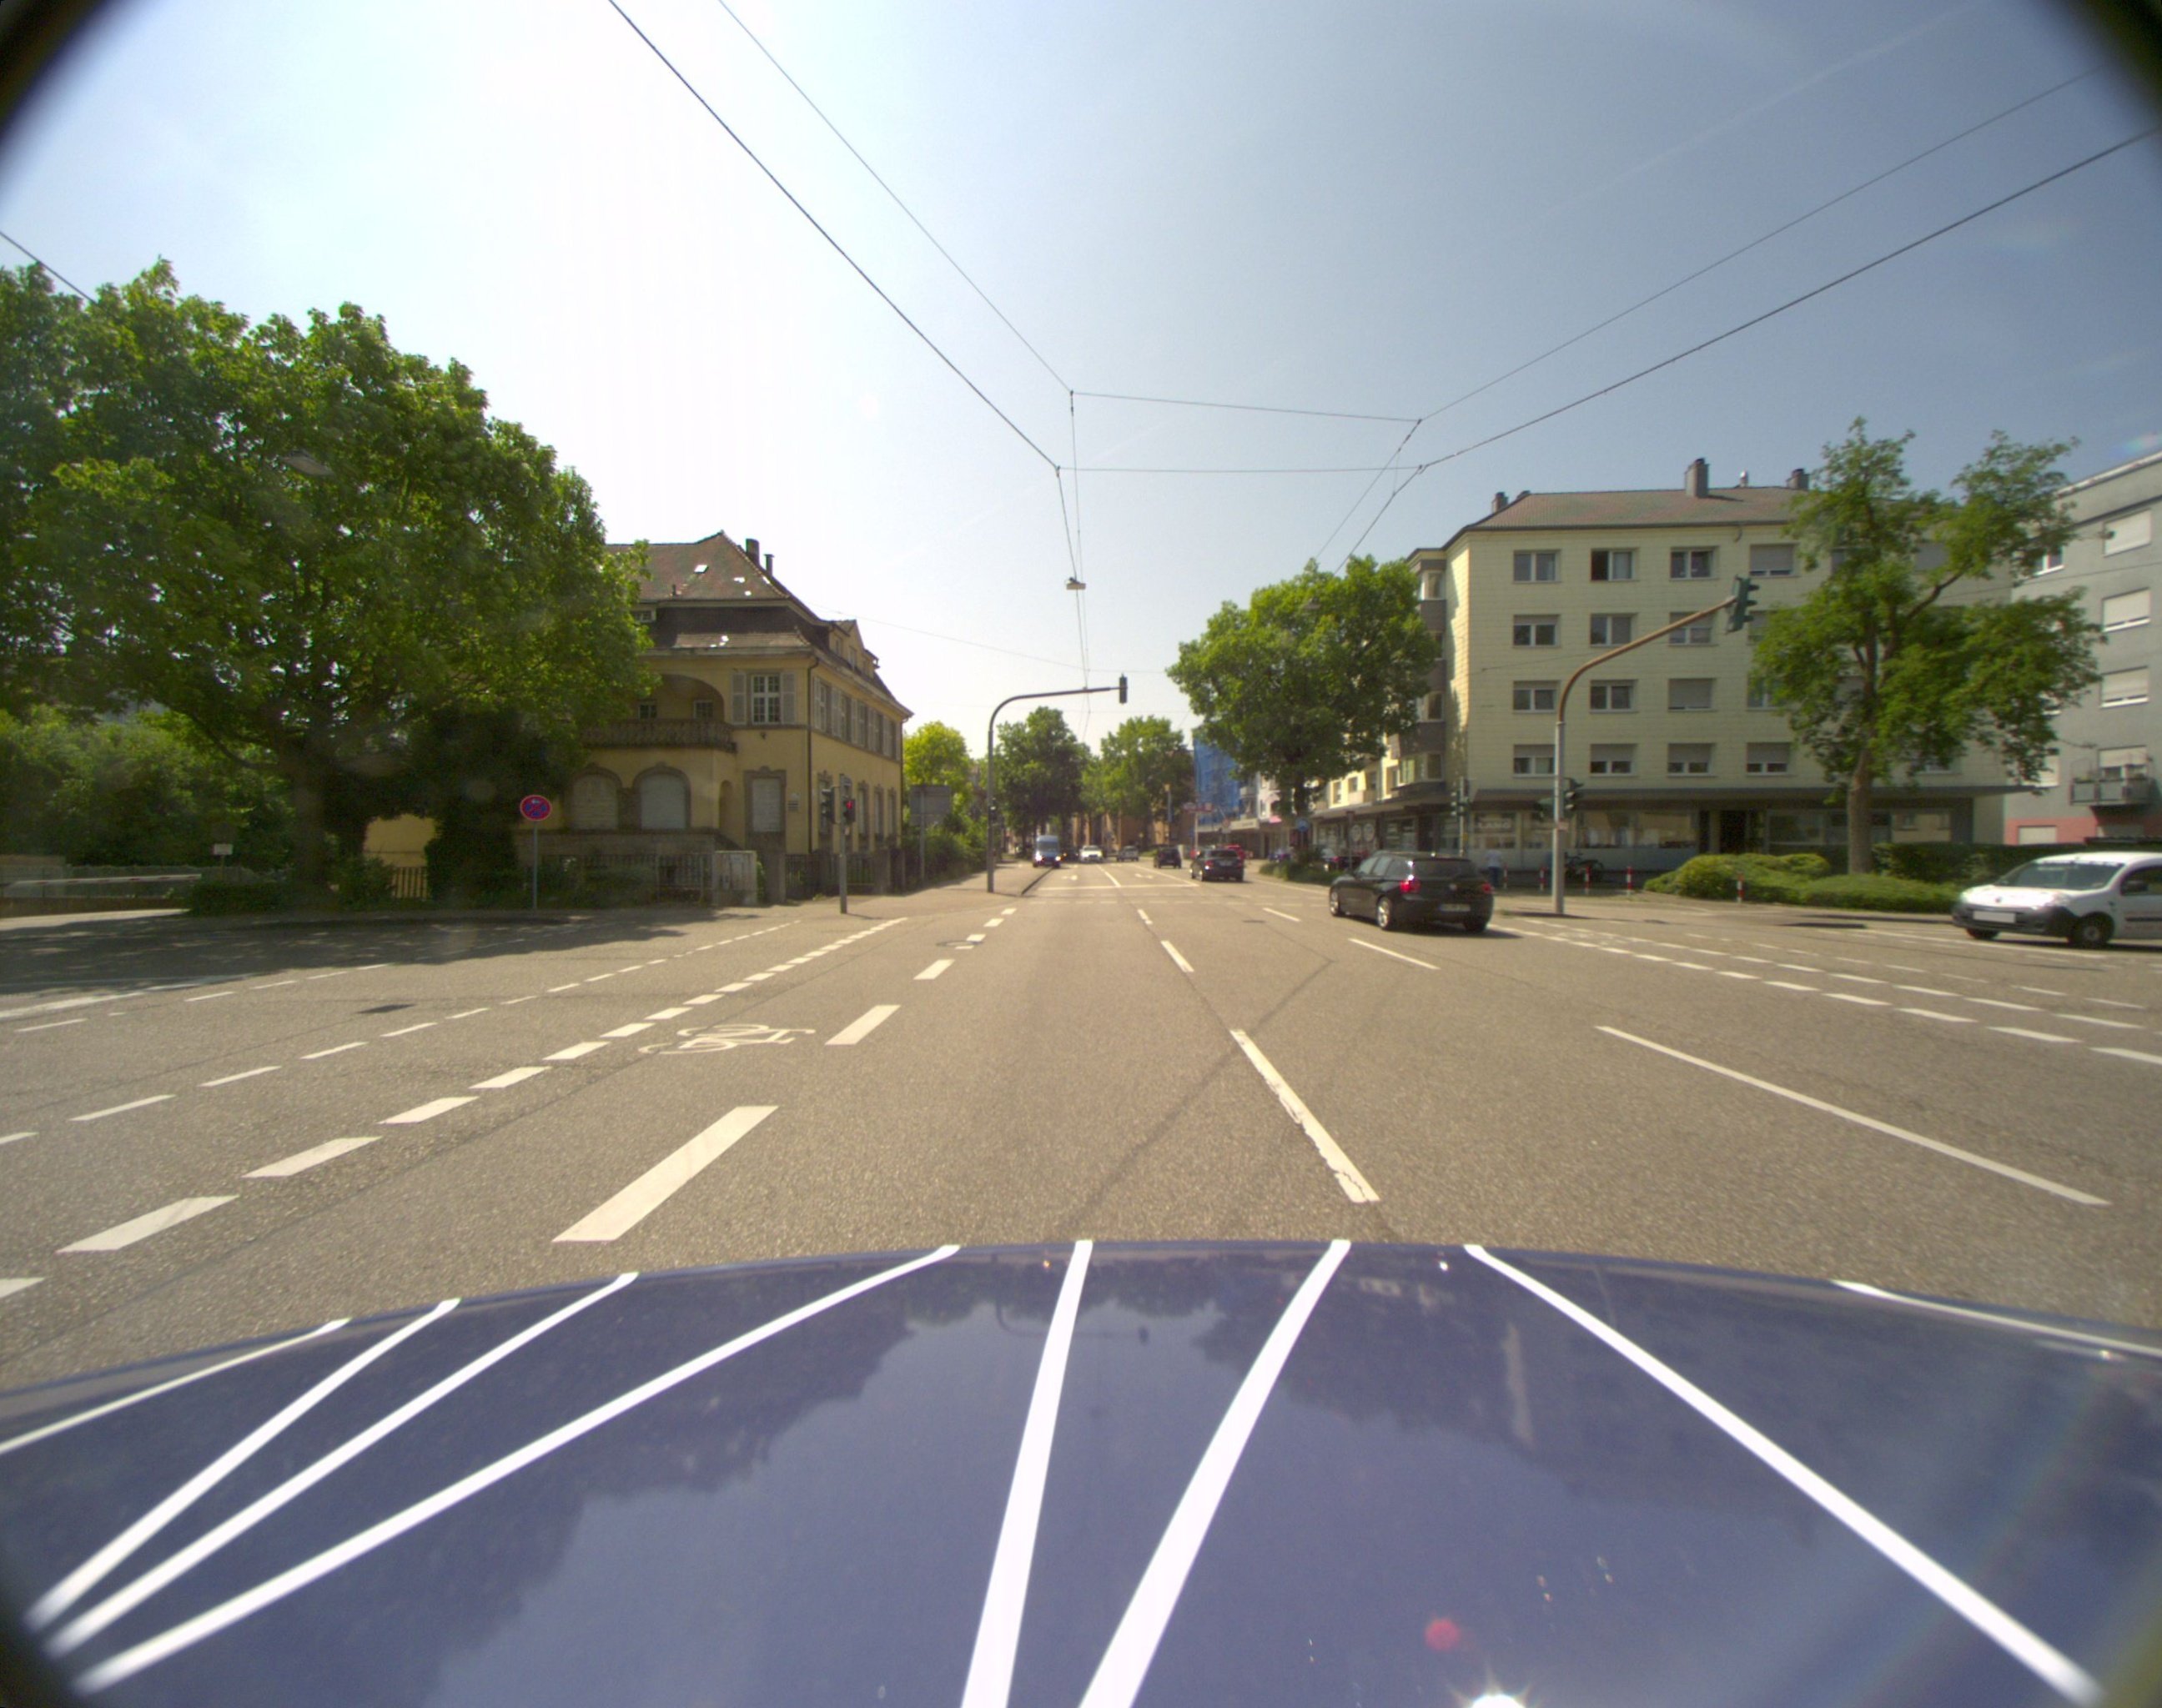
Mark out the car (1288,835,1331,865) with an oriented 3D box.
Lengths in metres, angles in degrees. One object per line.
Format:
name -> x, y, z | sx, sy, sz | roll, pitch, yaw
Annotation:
car -> 14.871, -0.292, 49.538 | 1.643, 1.828, 3.859 | -1, 1, 0

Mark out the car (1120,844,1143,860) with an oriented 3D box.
car -> 5.066, -0.252, 76.359 | 1.820, 1.509, 4.629 | 0, 1, -2

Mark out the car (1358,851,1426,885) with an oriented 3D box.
car -> 14.539, 0.616, 35.723 | 1.586, 1.450, 3.939 | 0, 1, 0

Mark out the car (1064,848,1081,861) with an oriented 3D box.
car -> -1.027, 0.063, 87.090 | 1.735, 1.397, 4.331 | -2, 1, -3

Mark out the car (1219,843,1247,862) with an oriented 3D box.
car -> 12.325, -0.168, 61.793 | 1.639, 1.460, 3.634 | 0, 1, 1

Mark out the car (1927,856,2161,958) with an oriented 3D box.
car -> 19.005, 0.972, 14.457 | 3.695, 1.725, 1.893 | 2, 1, -1

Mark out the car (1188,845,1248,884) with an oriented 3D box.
car -> 5.841, 0.396, 32.926 | 1.760, 1.551, 4.316 | 1, 1, -1

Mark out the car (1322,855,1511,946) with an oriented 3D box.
car -> 6.170, 0.777, 14.559 | 1.841, 1.391, 4.049 | 1, 1, 0

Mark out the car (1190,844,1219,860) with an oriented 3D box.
car -> 11.684, -0.237, 72.216 | 1.913, 1.511, 4.332 | 0, 1, -2

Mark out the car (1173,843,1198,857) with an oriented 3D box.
car -> 11.334, -0.429, 82.682 | 1.913, 1.511, 4.332 | 0, 1, -2

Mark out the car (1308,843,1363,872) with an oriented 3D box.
car -> 14.532, 0.161, 43.667 | 1.626, 1.560, 4.838 | 0, 1, 1

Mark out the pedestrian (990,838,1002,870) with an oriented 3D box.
pedestrian -> -5.111, -0.002, 45.706 | 0.621, 1.907, 0.744 | 0, 2, 0

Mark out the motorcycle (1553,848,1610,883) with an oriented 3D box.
motorcycle -> 21.434, 0.490, 32.548 | 1.919, 1.413, 0.714 | -1, 3, 1

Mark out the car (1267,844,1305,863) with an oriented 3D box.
car -> 14.821, -0.035, 55.056 | 1.704, 1.279, 3.860 | -1, 1, 0

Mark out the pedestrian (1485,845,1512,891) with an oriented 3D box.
pedestrian -> 16.027, 0.564, 29.182 | 0.628, 1.748, 0.743 | 0, -2, 0

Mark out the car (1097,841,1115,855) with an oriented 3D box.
car -> 3.057, -0.726, 94.048 | 1.985, 1.629, 4.224 | 0, 1, -2

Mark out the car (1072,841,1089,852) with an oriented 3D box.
car -> -0.030, -1.051, 107.362 | 1.810, 1.441, 3.848 | -2, 1, -9

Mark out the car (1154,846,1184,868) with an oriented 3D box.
car -> 6.156, 0.198, 53.305 | 1.620, 1.447, 3.709 | 0, 0, -1

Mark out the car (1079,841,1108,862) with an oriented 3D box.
car -> 1.119, -0.238, 69.369 | 2.000, 1.740, 4.442 | -2, 1, -7

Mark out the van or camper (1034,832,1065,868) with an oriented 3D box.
van or camper -> -2.419, -0.347, 58.055 | 2.164, 2.567, 5.842 | -1, 2, -3
